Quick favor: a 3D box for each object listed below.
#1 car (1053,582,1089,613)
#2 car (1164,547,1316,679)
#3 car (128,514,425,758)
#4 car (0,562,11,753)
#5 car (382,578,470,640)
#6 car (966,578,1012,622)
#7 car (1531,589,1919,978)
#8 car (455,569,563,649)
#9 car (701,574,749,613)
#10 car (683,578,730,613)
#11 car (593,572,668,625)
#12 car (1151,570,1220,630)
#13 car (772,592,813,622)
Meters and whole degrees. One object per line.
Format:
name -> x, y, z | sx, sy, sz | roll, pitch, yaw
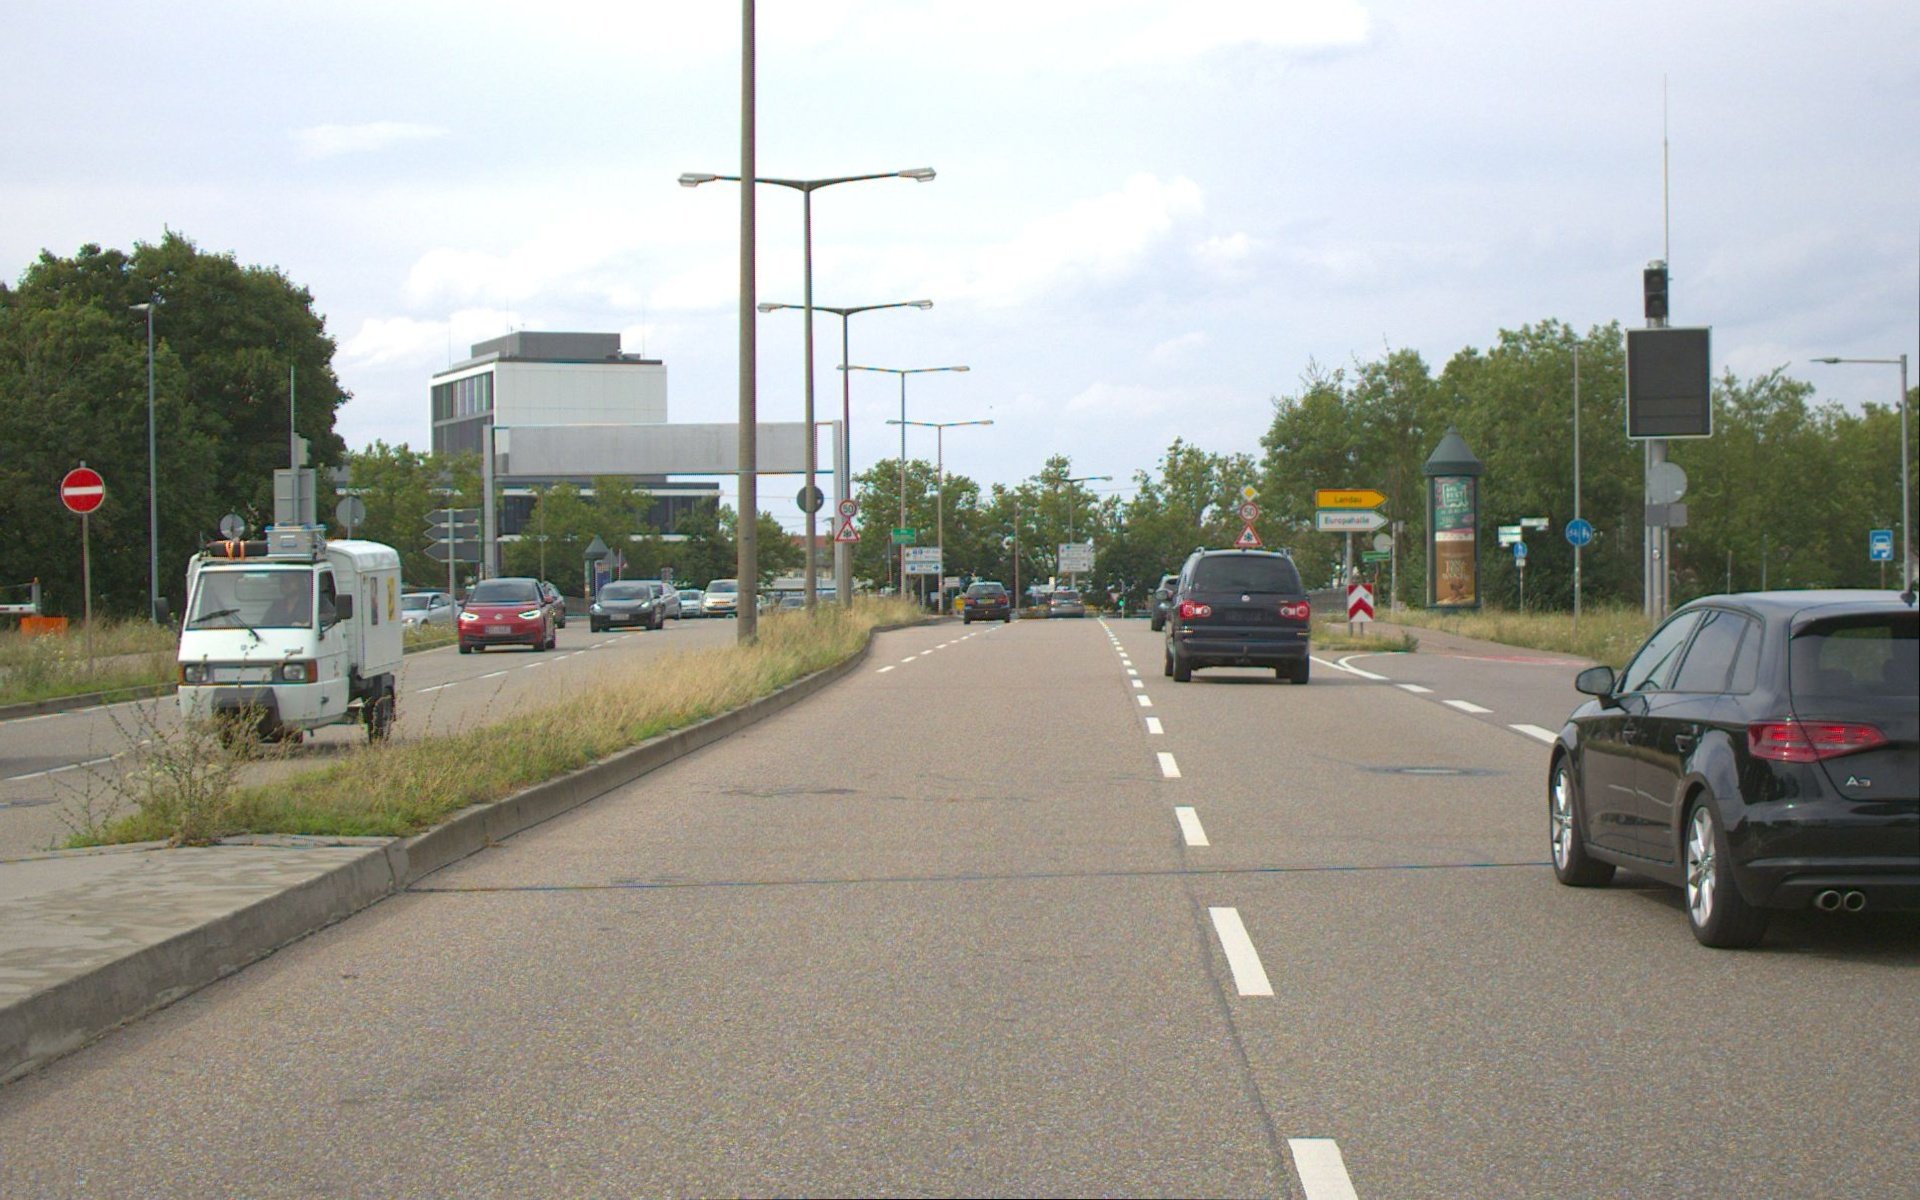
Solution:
car -> 5.570, -0.127, 172.528 | 1.730, 1.521, 4.115 | 1, 0, 1
car -> 3.658, 0.157, 45.435 | 1.730, 1.647, 4.115 | 1, 0, 1
car -> -5.630, 0.249, 28.709 | 1.540, 1.864, 3.570 | -2, 1, 3
car -> -8.989, 0.551, 26.623 | 1.747, 1.580, 4.586 | -2, 1, 3
car -> -15.718, 0.250, 101.381 | 1.993, 1.744, 4.000 | 1, 1, -1
car -> 1.139, -0.025, 132.550 | 1.730, 1.647, 4.115 | 1, 0, 1
car -> 3.684, 0.675, 14.610 | 1.730, 1.390, 4.115 | 1, 0, -1
car -> -9.516, 0.168, 72.823 | 1.651, 1.569, 4.338 | -3, 1, 0
car -> -9.897, -0.282, 145.087 | 1.745, 1.593, 4.565 | -1, 1, -1
car -> -11.509, -0.219, 156.275 | 1.666, 1.414, 4.092 | -2, 2, 2
car -> -9.601, -0.053, 100.448 | 1.745, 1.470, 4.565 | -1, 1, 0
car -> 6.368, -0.010, 97.509 | 1.730, 1.647, 4.115 | 1, 0, 1
car -> -8.933, 0.368, 183.945 | 1.793, 1.520, 4.594 | -2, -1, 2
